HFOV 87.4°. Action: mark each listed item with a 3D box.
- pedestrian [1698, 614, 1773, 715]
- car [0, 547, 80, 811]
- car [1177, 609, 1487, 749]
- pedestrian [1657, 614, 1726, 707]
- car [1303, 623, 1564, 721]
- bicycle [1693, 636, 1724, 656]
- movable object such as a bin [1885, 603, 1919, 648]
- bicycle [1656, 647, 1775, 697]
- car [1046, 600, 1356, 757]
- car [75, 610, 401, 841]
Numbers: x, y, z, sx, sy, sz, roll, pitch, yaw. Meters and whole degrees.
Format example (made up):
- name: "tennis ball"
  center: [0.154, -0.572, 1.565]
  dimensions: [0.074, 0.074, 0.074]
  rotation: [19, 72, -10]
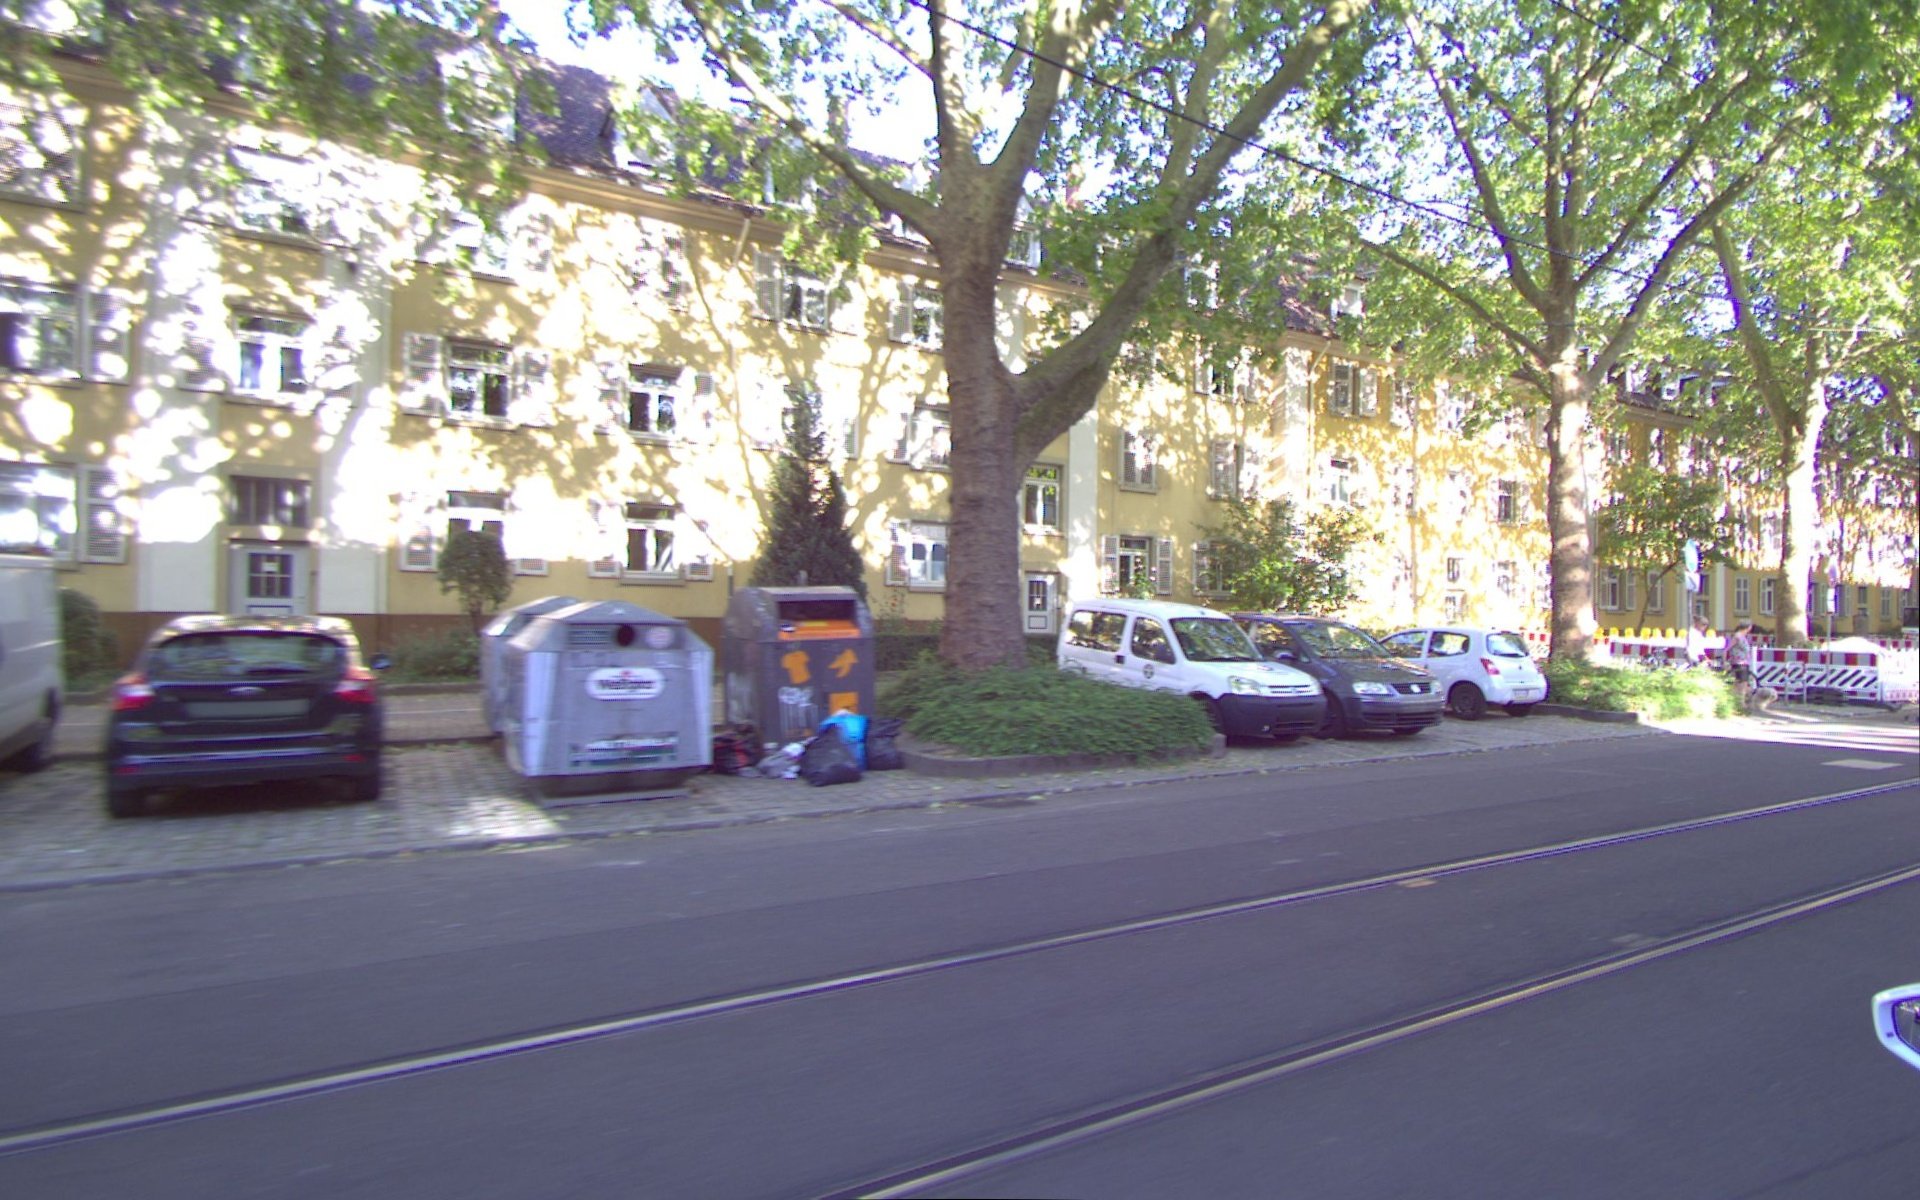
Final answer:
- name: "pedestrian"
  center: [14.128, 1.153, 18.301]
  dimensions: [0.787, 1.768, 0.818]
  rotation: [2, 0, -30]
- name: "car"
  center: [-8.207, 0.573, 7.351]
  dimensions: [1.940, 1.971, 4.630]
  rotation: [1, 0, -32]
- name: "car"
  center: [5.175, 1.030, 14.631]
  dimensions: [1.905, 1.710, 4.226]
  rotation: [1, -1, -22]
- name: "pedestrian"
  center: [14.438, 1.173, 19.834]
  dimensions: [0.787, 1.768, 0.818]
  rotation: [2, 0, -30]
- name: "car"
  center: [8.159, 1.164, 17.654]
  dimensions: [1.840, 1.517, 3.831]
  rotation: [1, -2, -29]
- name: "bicycle"
  center: [30.753, 1.881, 41.254]
  dimensions: [1.627, 0.829, 0.503]
  rotation: [1, -1, -34]
- name: "movable object such as a bin"
  center: [40.973, 1.099, 43.110]
  dimensions: [1.984, 1.893, 1.327]
  rotation: [2, 0, -30]
- name: "bicycle"
  center: [16.492, 1.544, 21.978]
  dimensions: [0.717, 0.975, 1.964]
  rotation: [1, -1, -28]
- name: "car"
  center: [3.059, 0.905, 13.655]
  dimensions: [1.719, 1.781, 4.180]
  rotation: [1, 0, -29]
- name: "car"
  center: [-5.949, 0.881, 8.762]
  dimensions: [1.840, 1.517, 3.831]
  rotation: [1, -2, -29]
